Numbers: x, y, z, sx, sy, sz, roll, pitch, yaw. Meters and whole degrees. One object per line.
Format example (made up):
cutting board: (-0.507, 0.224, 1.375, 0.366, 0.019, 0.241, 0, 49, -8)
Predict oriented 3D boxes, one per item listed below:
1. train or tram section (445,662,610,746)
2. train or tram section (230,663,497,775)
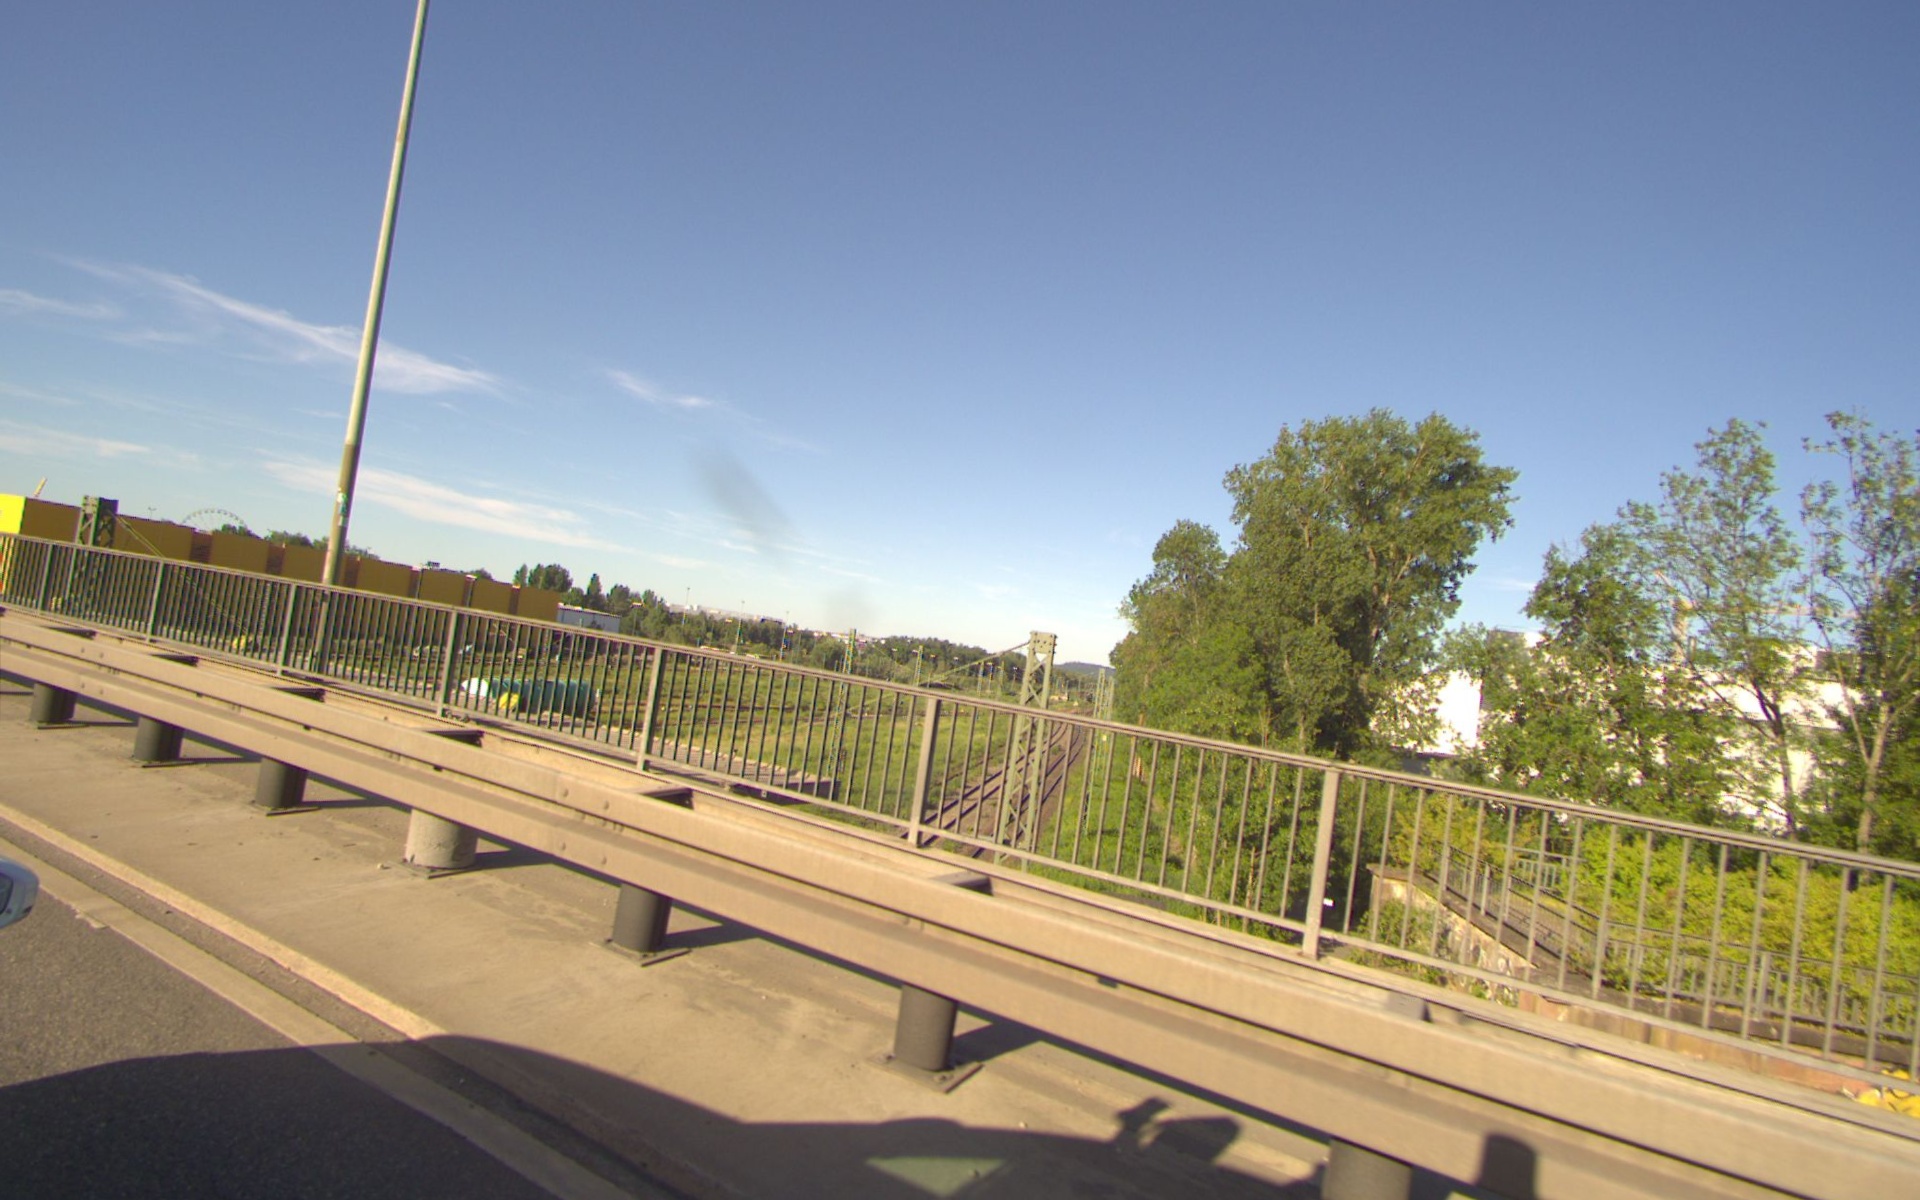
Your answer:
train or tram section: (-32.362, 7.600, 76.594, 3.273, 5.243, 15.199, 7, -2, 10)
train or tram section: (-35.007, 6.700, 60.836, 3.273, 5.322, 16.903, 7, -2, 10)
